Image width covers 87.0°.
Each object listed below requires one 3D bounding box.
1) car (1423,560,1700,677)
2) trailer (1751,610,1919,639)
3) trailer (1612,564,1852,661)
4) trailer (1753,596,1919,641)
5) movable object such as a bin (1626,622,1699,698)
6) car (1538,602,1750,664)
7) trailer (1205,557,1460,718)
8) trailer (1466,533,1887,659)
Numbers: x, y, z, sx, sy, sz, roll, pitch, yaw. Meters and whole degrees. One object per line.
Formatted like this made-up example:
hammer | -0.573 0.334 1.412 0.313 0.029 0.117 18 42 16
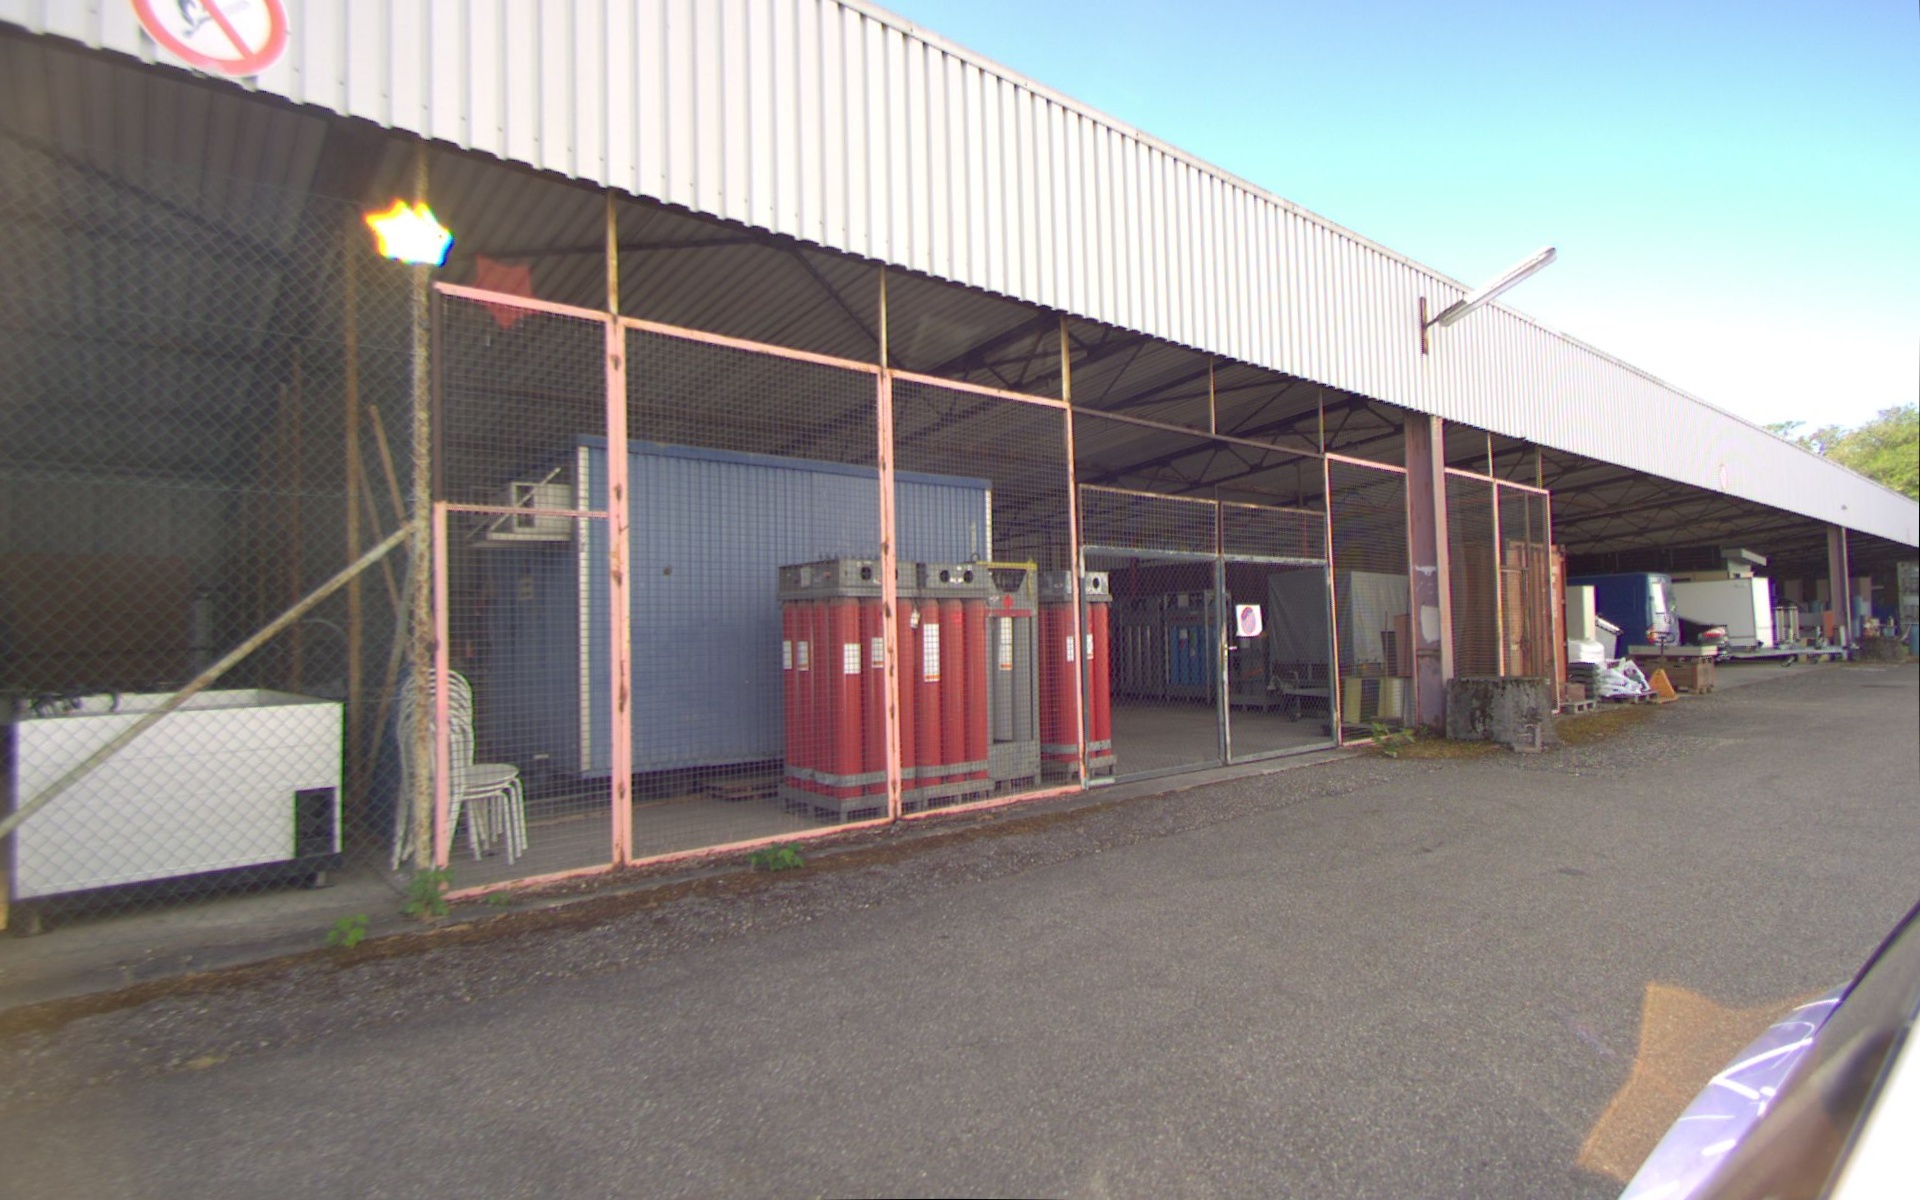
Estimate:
car | 13.492 0.469 23.014 1.964 2.356 4.988 0 -2 -39
trailer | 36.596 1.028 41.873 1.993 1.134 5.831 1 -2 -40
trailer | 20.867 0.385 27.600 1.792 2.422 4.827 0 -2 -35
trailer | 34.269 0.746 39.531 1.994 1.650 4.874 0 -2 -40
movable object such as a bin | 11.525 0.966 16.607 1.215 1.179 0.583 0 -2 -36
car | 18.059 0.868 26.877 1.746 1.515 4.333 0 -2 -42
trailer | 5.657 0.519 15.162 4.028 2.085 1.857 0 -2 -42
trailer | 21.303 0.045 30.964 2.803 3.257 10.055 0 -2 -40
